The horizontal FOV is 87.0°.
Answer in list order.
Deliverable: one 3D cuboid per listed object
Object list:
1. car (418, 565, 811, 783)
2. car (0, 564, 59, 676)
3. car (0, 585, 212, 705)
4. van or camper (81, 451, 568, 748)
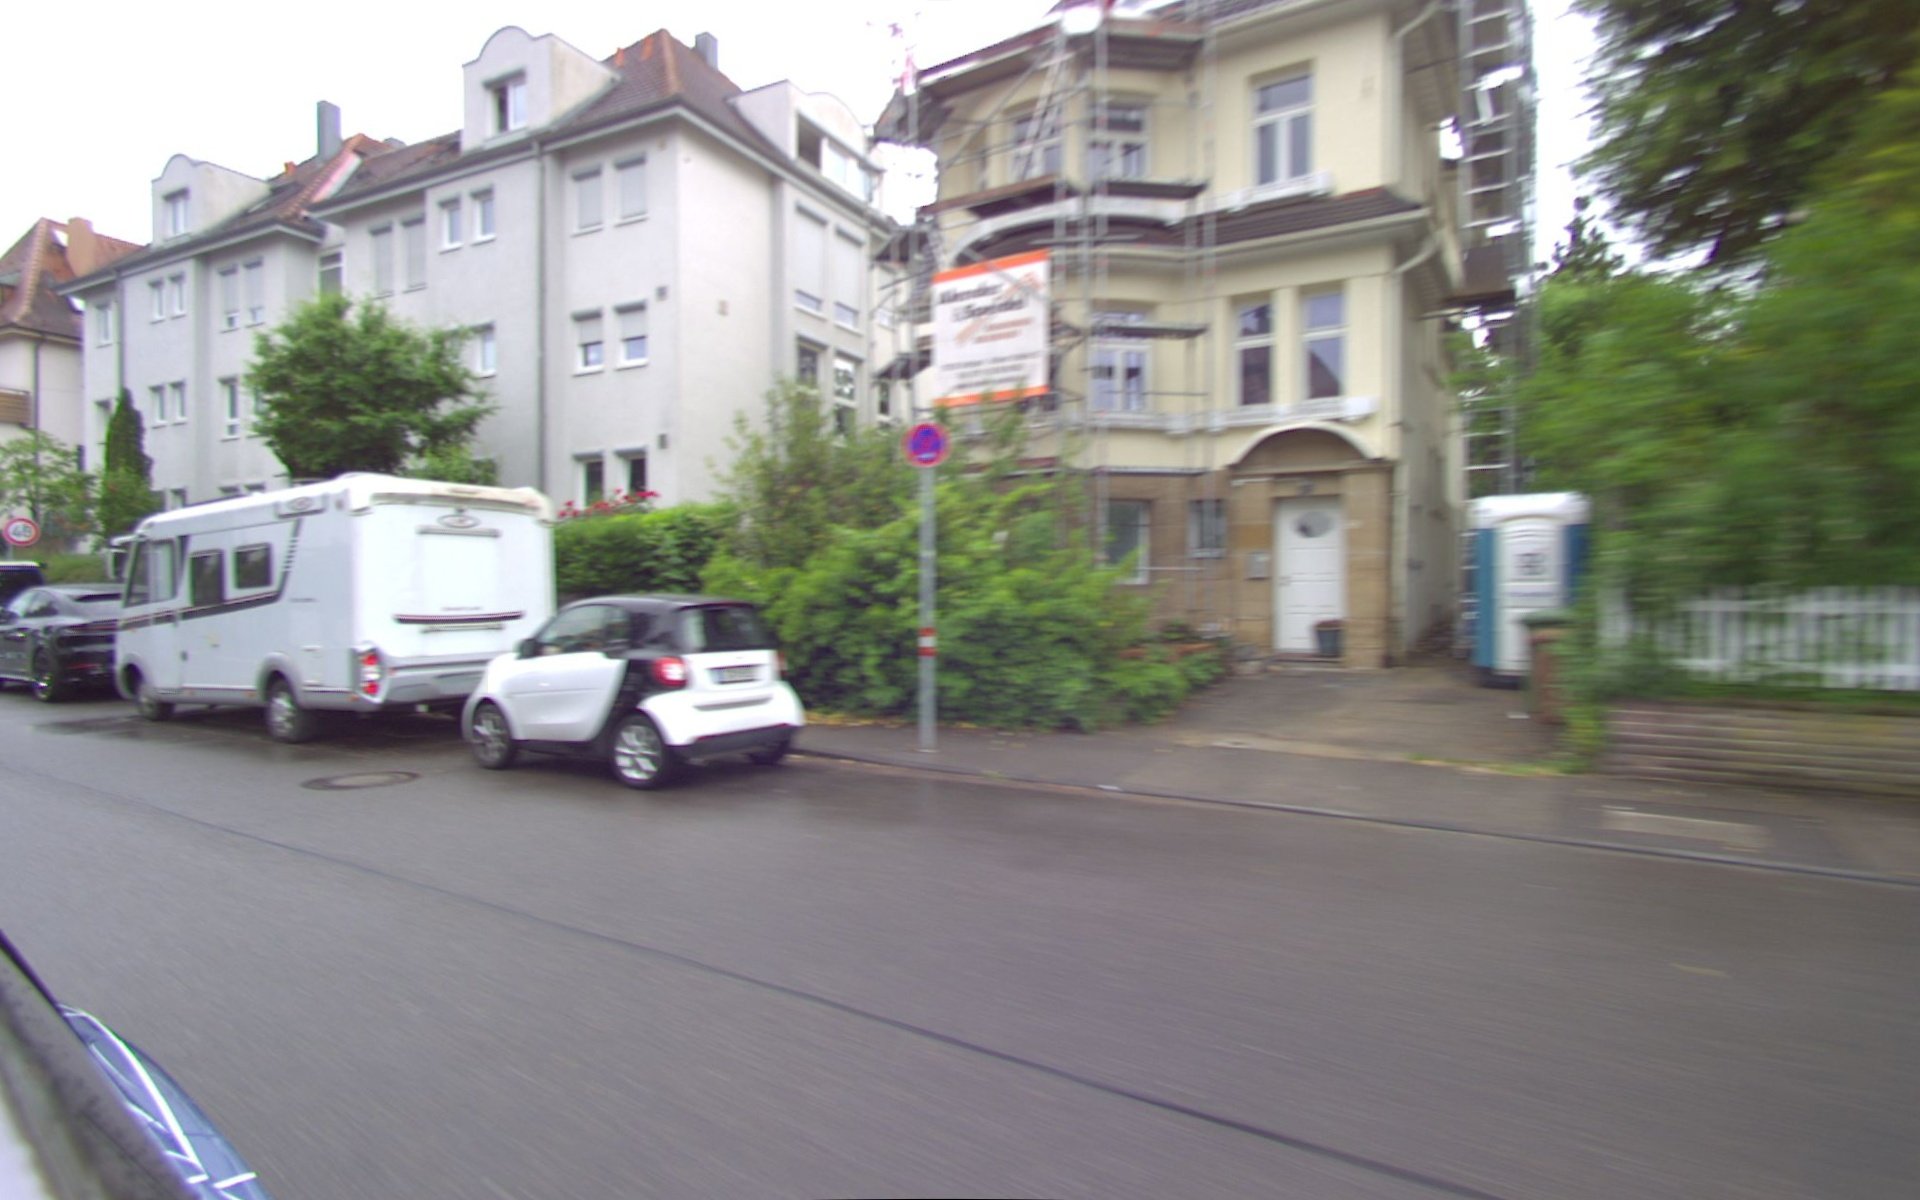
[{"bbox_3d":[-3.117,0.543,9.022,3.306,1.607,1.583,0,0,32],"label":"car"},{"bbox_3d":[-19.174,0.369,19.033,4.559,2.003,1.821,0,2,28],"label":"car"},{"bbox_3d":[-13.594,0.600,15.499,4.730,1.607,1.818,0,0,32],"label":"car"},{"bbox_3d":[-7.618,-0.009,11.927,6.093,2.745,2.331,0,0,30],"label":"van or camper"}]
